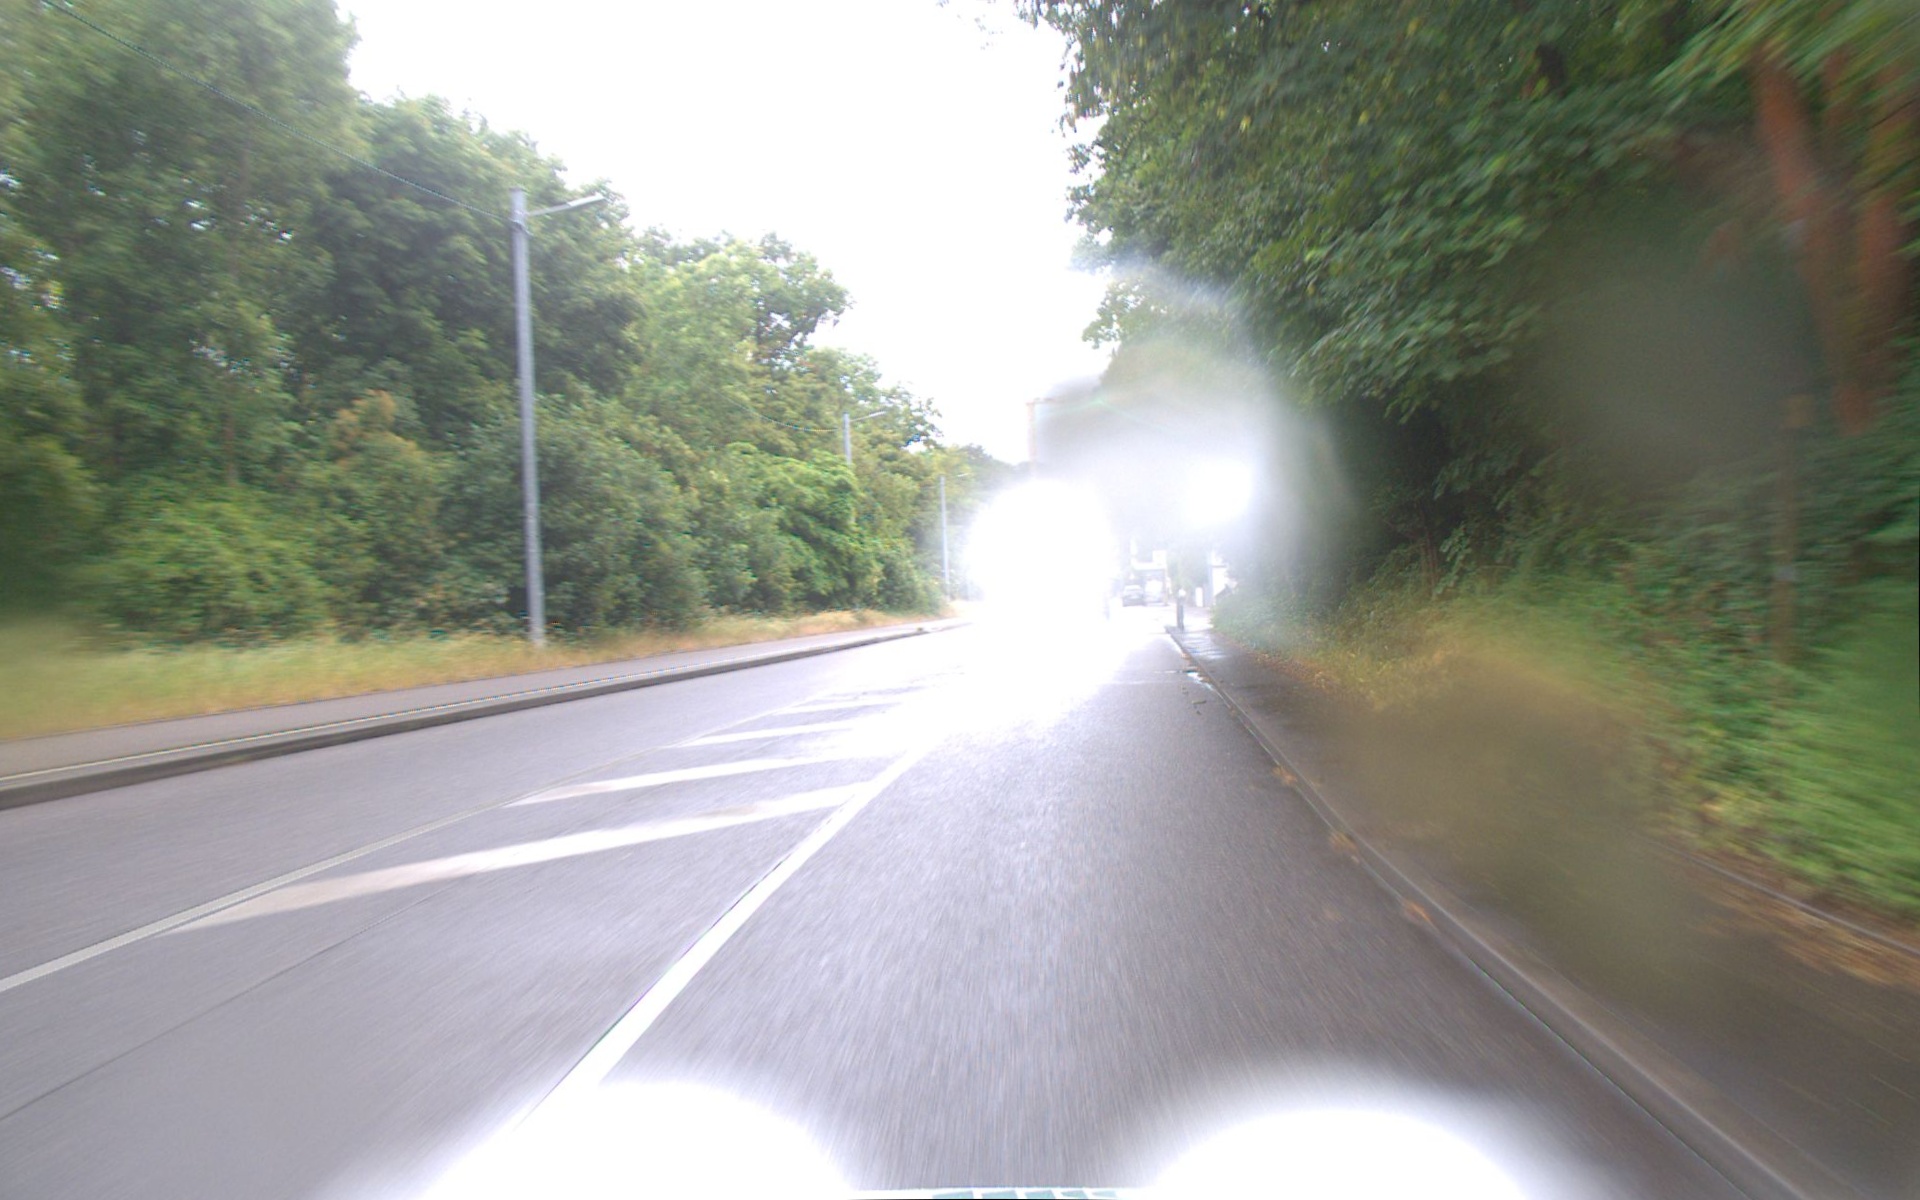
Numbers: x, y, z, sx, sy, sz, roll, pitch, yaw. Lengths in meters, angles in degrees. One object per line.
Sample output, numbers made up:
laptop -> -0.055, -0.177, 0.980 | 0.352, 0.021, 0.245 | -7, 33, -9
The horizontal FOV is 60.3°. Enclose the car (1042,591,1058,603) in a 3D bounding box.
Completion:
car -> 12.949, -0.429, 238.302 | 1.707, 1.579, 3.849 | -2, 0, -7

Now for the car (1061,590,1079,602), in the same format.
car -> 15.039, -0.476, 225.655 | 1.707, 1.579, 3.849 | -2, 0, -7

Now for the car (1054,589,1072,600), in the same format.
car -> 14.365, -0.755, 230.594 | 1.707, 1.579, 3.849 | 0, 0, -7

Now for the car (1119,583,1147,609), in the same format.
car -> 12.638, -0.298, 120.550 | 1.951, 1.803, 4.117 | 0, 0, 6

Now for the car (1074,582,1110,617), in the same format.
car -> 6.420, -0.029, 80.204 | 1.632, 1.621, 3.685 | 0, 0, 6
